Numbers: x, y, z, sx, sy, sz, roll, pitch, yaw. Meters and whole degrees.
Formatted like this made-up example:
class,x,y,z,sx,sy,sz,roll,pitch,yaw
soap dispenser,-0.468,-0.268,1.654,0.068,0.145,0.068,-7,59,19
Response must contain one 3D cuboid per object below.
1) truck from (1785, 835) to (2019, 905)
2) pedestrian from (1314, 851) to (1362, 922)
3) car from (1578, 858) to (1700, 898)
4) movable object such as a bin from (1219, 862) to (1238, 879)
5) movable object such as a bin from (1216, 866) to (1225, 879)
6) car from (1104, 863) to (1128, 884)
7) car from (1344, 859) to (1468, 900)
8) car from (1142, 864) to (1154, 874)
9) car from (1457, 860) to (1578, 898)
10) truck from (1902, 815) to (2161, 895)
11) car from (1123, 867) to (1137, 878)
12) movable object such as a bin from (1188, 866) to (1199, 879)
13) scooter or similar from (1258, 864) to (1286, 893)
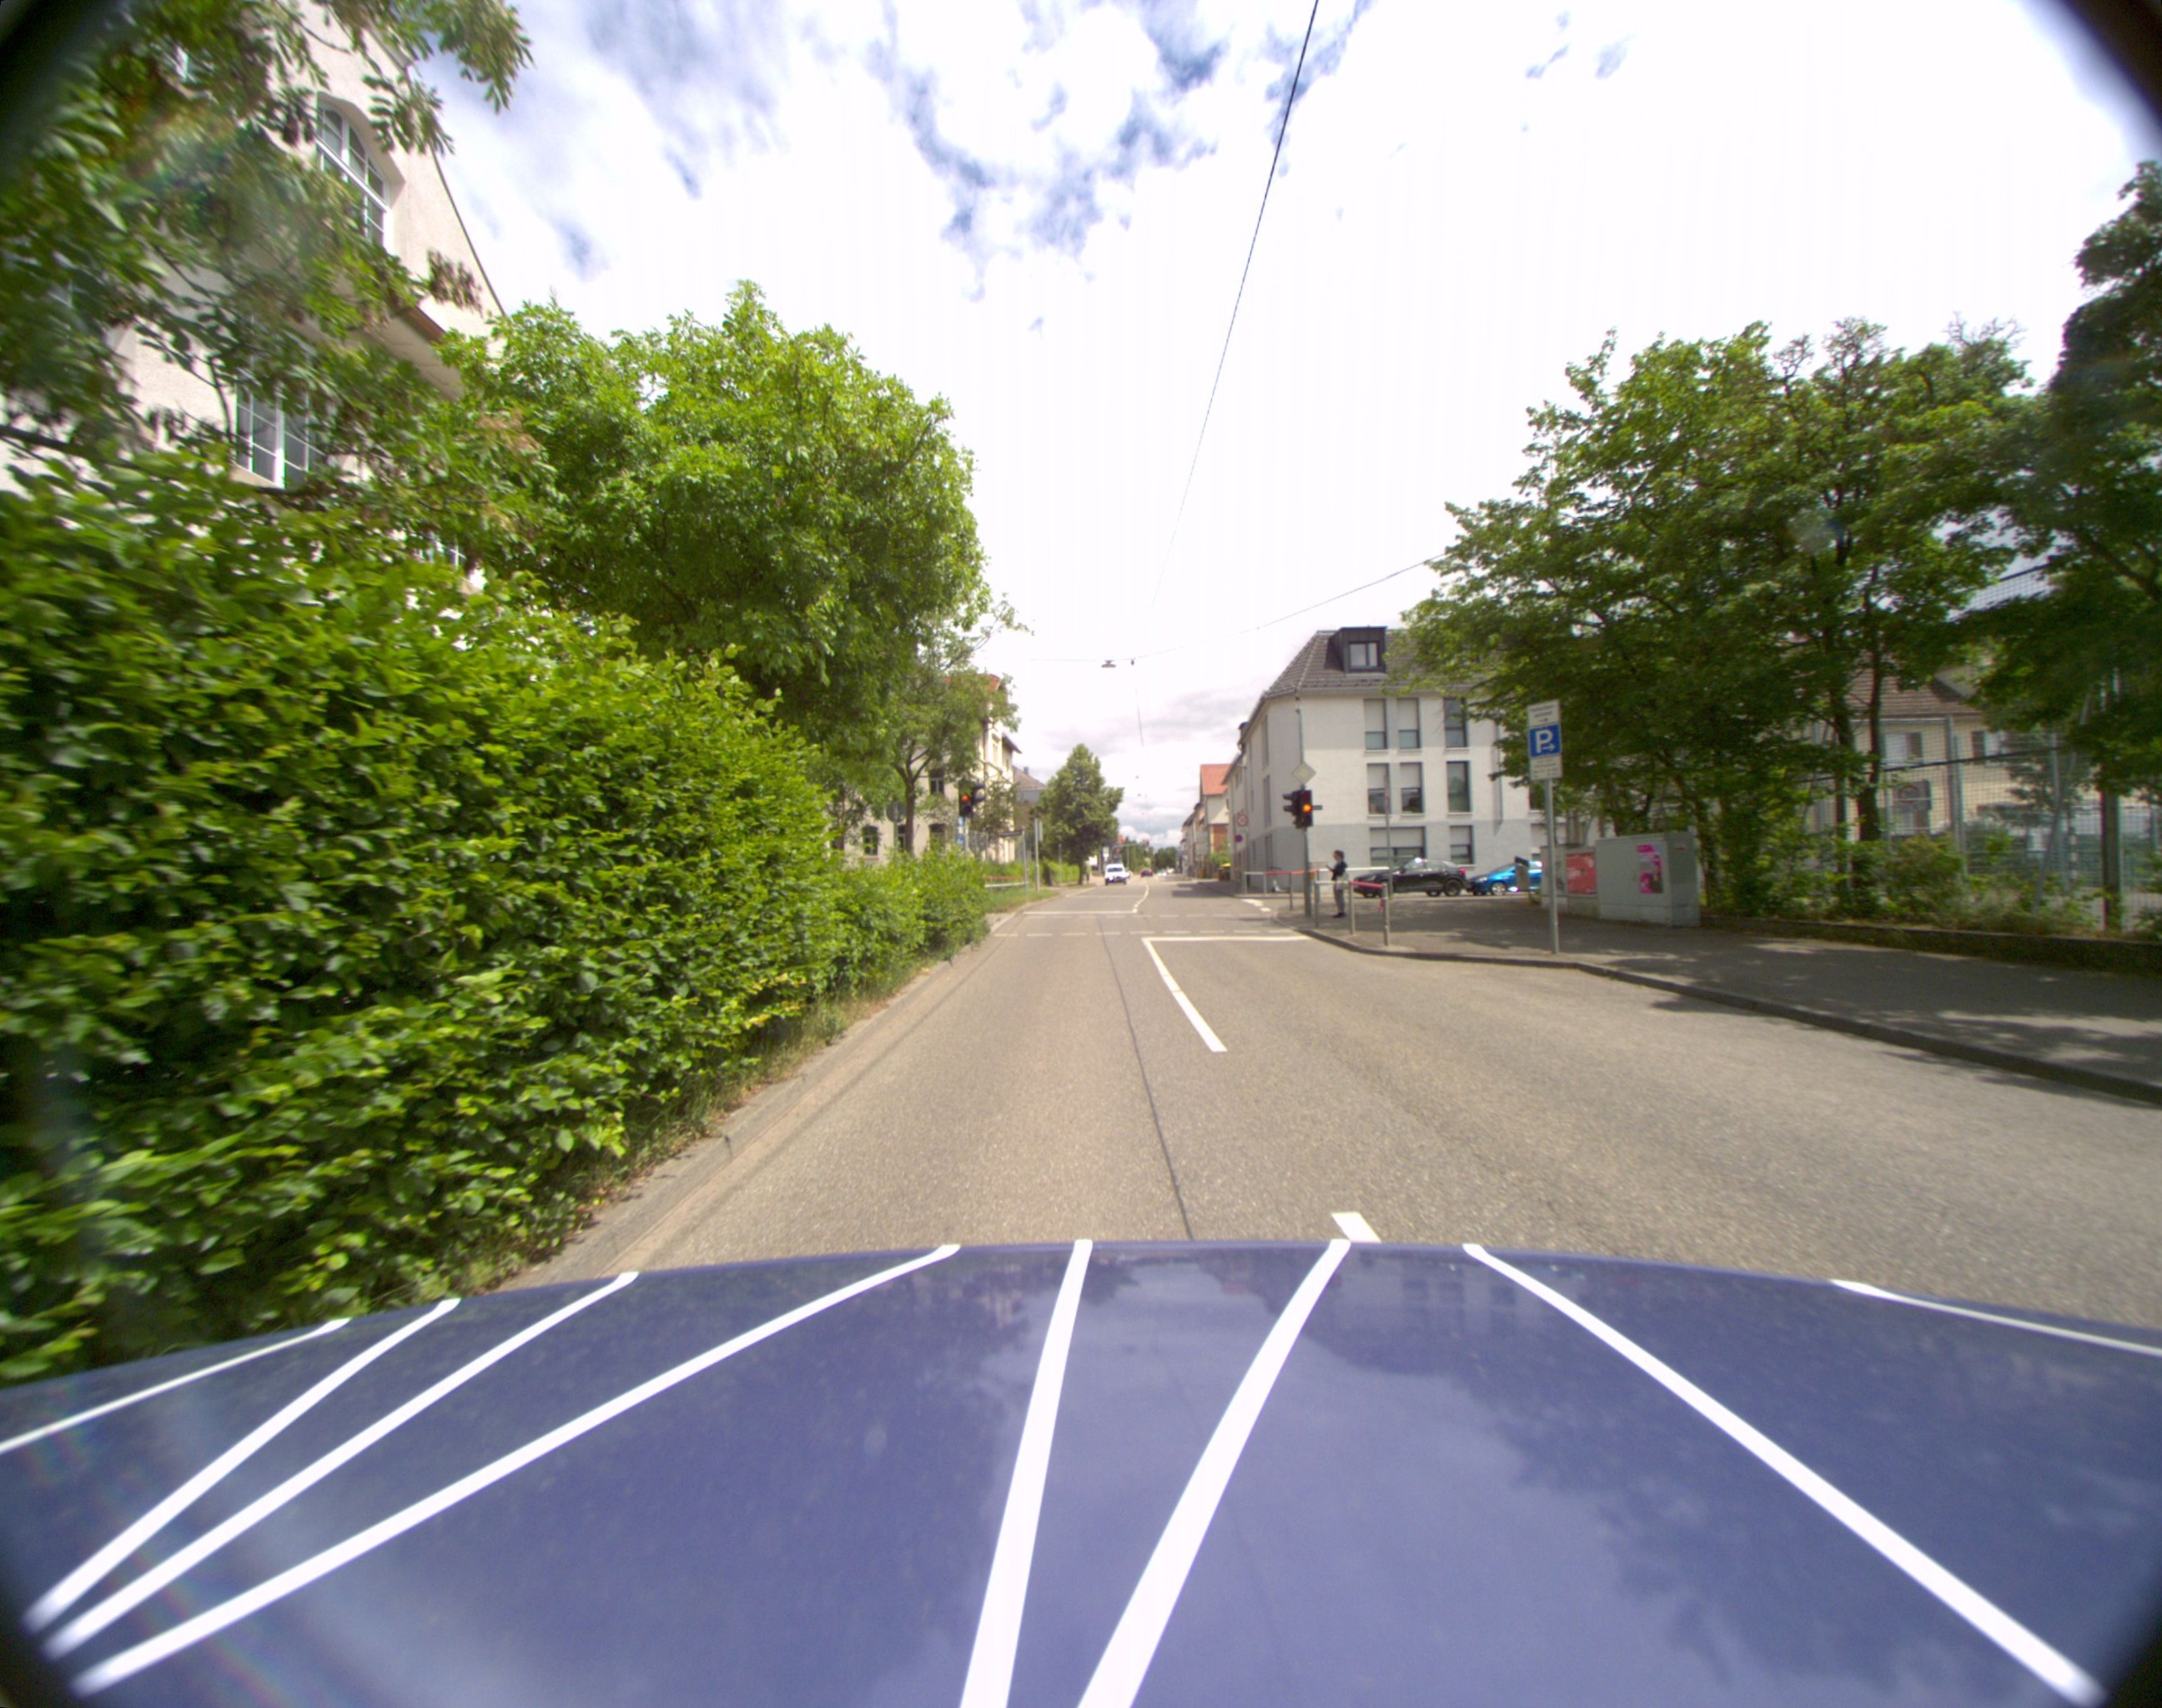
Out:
class,x,y,z,sx,sy,sz,roll,pitch,yaw
truck,25.649,0.476,23.894,5.048,2.023,2.145,-1,0,0
pedestrian,5.928,0.735,17.515,0.774,1.588,0.670,-2,0,-36
car,21.911,0.971,29.918,3.610,1.463,1.551,-1,-4,-1
movable object such as a bin,12.652,1.437,65.125,1.337,1.437,1.171,-1,-1,1
movable object such as a bin,11.705,1.552,63.707,0.642,1.069,0.660,-1,-1,2
car,3.035,1.686,65.782,1.893,1.717,4.295,-2,-1,4
car,12.652,1.005,29.769,3.997,1.467,1.859,-1,-3,0
car,10.879,2.471,122.695,1.794,1.477,4.003,-3,-2,6
car,17.124,0.985,29.908,3.791,1.391,1.603,-1,-3,2
truck,37.540,0.090,30.073,7.364,2.907,2.506,-1,-4,-2
car,7.078,2.675,108.702,1.794,1.477,4.003,-3,-2,6
movable object such as a bin,12.103,1.977,81.558,0.767,1.156,0.801,-14,7,-5
scooter or similar,8.493,1.080,33.829,0.491,1.254,1.305,-1,0,-25
